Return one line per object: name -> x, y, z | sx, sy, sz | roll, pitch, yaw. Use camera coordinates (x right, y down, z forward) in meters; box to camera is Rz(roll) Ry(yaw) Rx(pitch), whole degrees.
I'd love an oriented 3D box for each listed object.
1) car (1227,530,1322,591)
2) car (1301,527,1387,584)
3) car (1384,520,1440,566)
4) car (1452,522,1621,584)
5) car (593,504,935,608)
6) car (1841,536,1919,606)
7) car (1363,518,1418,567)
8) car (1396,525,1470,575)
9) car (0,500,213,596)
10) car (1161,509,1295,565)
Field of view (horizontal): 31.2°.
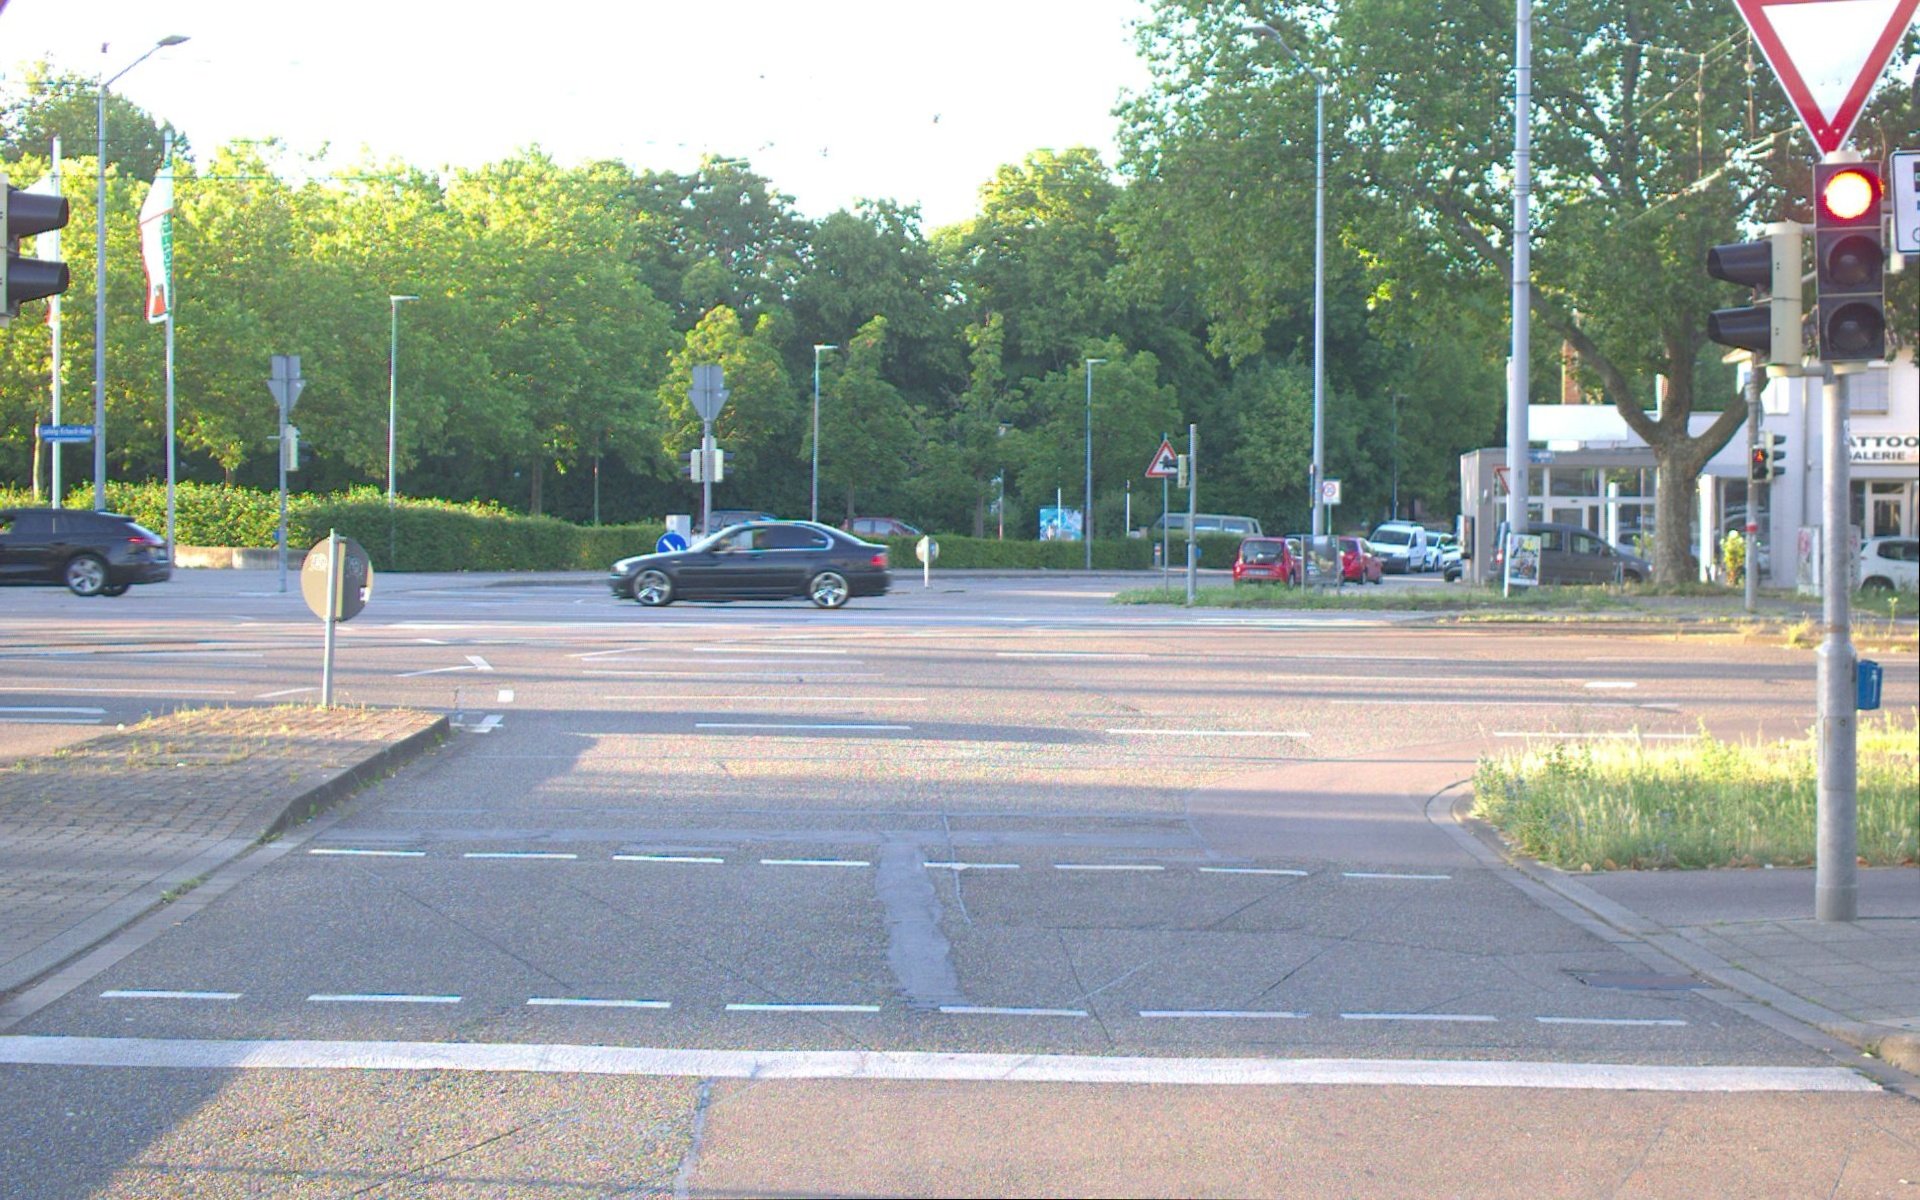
car -> 8.781, -1.092, 95.683 | 1.995, 1.656, 3.997 | 1, 0, 15
car -> 11.561, -1.330, 103.370 | 1.995, 1.656, 3.997 | 1, 0, 15
car -> 17.887, -2.243, 136.080 | 1.864, 1.788, 3.998 | 1, 0, 12
car -> 14.916, -1.210, 89.164 | 4.220, 1.547, 1.999 | 1, 0, 7
car -> -3.012, -0.672, 53.620 | 5.224, 1.547, 2.000 | 0, 0, -1
car -> 20.527, -0.600, 72.256 | 3.741, 1.435, 1.663 | 1, 0, 9
car -> 16.432, -2.181, 131.185 | 1.864, 1.788, 3.998 | 1, 0, 10
car -> 15.926, -1.669, 115.594 | 1.995, 1.656, 3.997 | 1, 0, 15
car -> -15.151, -0.859, 57.025 | 5.099, 1.547, 2.000 | 0, 0, -1
car -> 9.787, -2.310, 125.871 | 4.774, 1.999, 2.000 | 0, 0, 2
